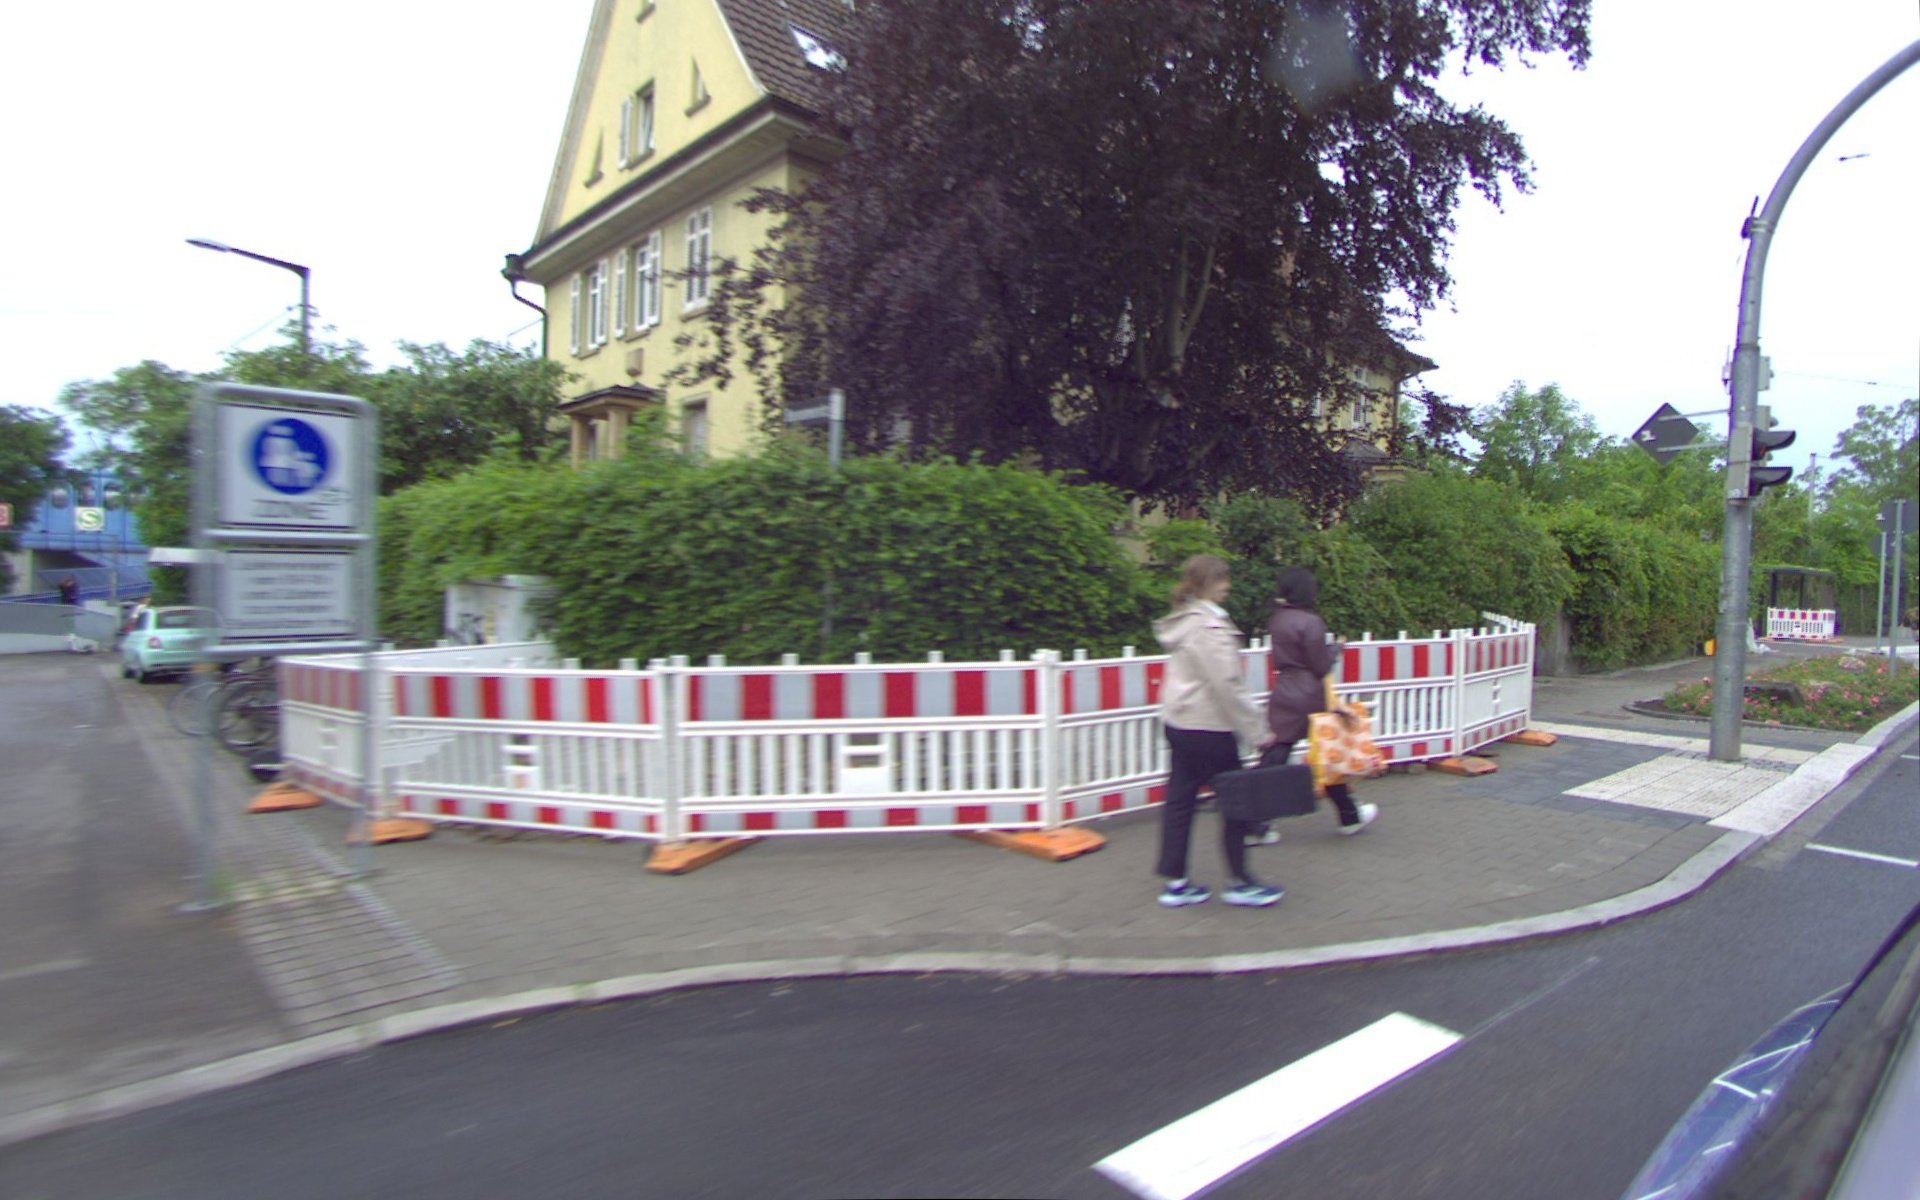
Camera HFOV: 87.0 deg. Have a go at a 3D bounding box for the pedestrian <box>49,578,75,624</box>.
[{"bbox_3d":[-30.646,0.028,34.536,0.564,1.542,0.673,0,0,-34],"label":"pedestrian"}]

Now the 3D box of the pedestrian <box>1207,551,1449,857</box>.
[{"bbox_3d":[2.121,0.521,5.866,1.029,1.580,0.878,-1,1,-32],"label":"pedestrian"}]

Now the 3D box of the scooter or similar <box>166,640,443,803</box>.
[{"bbox_3d":[-5.142,0.905,8.039,1.800,1.093,0.421,-1,-1,-43],"label":"scooter or similar"}]

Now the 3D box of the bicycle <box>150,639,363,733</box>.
[{"bbox_3d":[-8.207,0.974,11.885,1.993,0.888,0.427,-3,2,-42],"label":"bicycle"}]

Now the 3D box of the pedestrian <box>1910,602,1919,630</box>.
[{"bbox_3d":[46.247,0.787,48.281,1.053,1.346,0.806,2,1,17],"label":"pedestrian"}]

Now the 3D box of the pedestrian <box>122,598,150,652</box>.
[{"bbox_3d":[-23.907,0.710,29.372,0.564,1.542,0.673,0,0,-34],"label":"pedestrian"}]

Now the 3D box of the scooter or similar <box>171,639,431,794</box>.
[{"bbox_3d":[-5.527,0.929,8.579,1.800,1.114,0.421,-1,-1,-43],"label":"scooter or similar"}]

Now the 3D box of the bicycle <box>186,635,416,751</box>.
[{"bbox_3d":[-6.970,0.947,10.793,1.993,1.009,0.427,-3,2,-42],"label":"bicycle"}]

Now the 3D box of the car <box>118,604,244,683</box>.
[{"bbox_3d":[-16.586,0.854,21.467,1.819,1.493,3.991,0,0,-42],"label":"car"}]

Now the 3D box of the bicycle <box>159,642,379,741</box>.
[{"bbox_3d":[-7.731,0.987,11.407,1.993,0.888,0.427,-3,2,-42],"label":"bicycle"}]

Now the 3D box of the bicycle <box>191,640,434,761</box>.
[{"bbox_3d":[-6.351,0.946,10.022,1.993,1.009,0.427,0,0,-42],"label":"bicycle"}]

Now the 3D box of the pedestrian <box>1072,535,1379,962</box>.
[{"bbox_3d":[1.218,0.563,4.616,1.200,1.662,0.786,-1,1,-37],"label":"pedestrian"}]

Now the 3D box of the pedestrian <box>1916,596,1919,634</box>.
[{"bbox_3d":[40.087,0.622,41.644,0.908,1.566,0.542,2,1,17],"label":"pedestrian"}]
